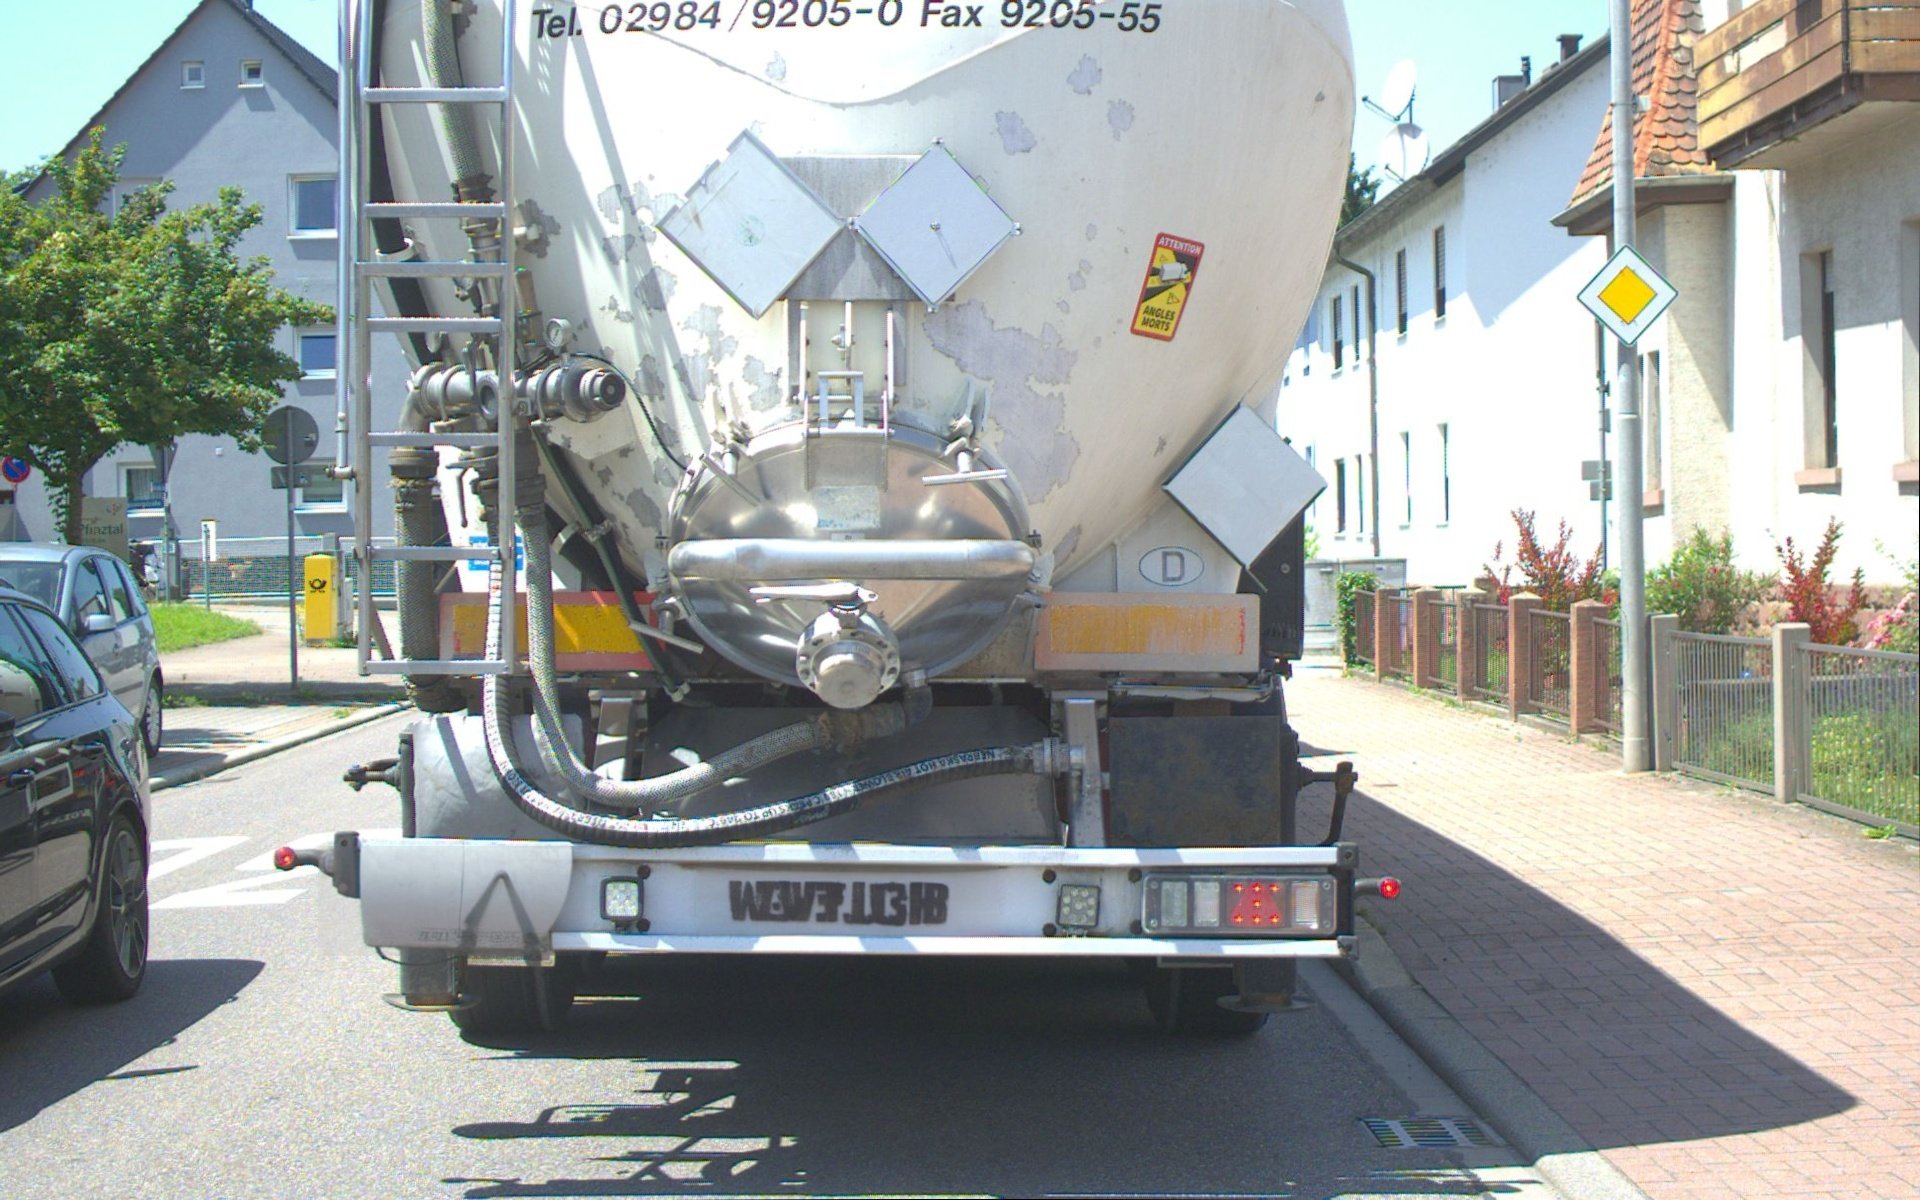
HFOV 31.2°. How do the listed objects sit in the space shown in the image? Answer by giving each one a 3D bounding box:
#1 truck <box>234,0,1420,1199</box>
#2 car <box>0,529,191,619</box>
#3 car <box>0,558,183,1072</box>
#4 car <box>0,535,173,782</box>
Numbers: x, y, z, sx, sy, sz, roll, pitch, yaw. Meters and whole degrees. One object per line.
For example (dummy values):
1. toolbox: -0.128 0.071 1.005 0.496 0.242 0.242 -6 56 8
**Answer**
1. truck: -0.331 -0.744 12.448 2.641 4.002 9.562 0 1 0
2. car: -17.078 -0.498 64.967 4.626 1.645 1.740 0 1 8
3. car: -3.628 0.656 10.050 1.719 1.441 4.255 -2 1 0
4. car: -6.737 0.340 23.969 1.697 1.575 3.838 0 1 -1
